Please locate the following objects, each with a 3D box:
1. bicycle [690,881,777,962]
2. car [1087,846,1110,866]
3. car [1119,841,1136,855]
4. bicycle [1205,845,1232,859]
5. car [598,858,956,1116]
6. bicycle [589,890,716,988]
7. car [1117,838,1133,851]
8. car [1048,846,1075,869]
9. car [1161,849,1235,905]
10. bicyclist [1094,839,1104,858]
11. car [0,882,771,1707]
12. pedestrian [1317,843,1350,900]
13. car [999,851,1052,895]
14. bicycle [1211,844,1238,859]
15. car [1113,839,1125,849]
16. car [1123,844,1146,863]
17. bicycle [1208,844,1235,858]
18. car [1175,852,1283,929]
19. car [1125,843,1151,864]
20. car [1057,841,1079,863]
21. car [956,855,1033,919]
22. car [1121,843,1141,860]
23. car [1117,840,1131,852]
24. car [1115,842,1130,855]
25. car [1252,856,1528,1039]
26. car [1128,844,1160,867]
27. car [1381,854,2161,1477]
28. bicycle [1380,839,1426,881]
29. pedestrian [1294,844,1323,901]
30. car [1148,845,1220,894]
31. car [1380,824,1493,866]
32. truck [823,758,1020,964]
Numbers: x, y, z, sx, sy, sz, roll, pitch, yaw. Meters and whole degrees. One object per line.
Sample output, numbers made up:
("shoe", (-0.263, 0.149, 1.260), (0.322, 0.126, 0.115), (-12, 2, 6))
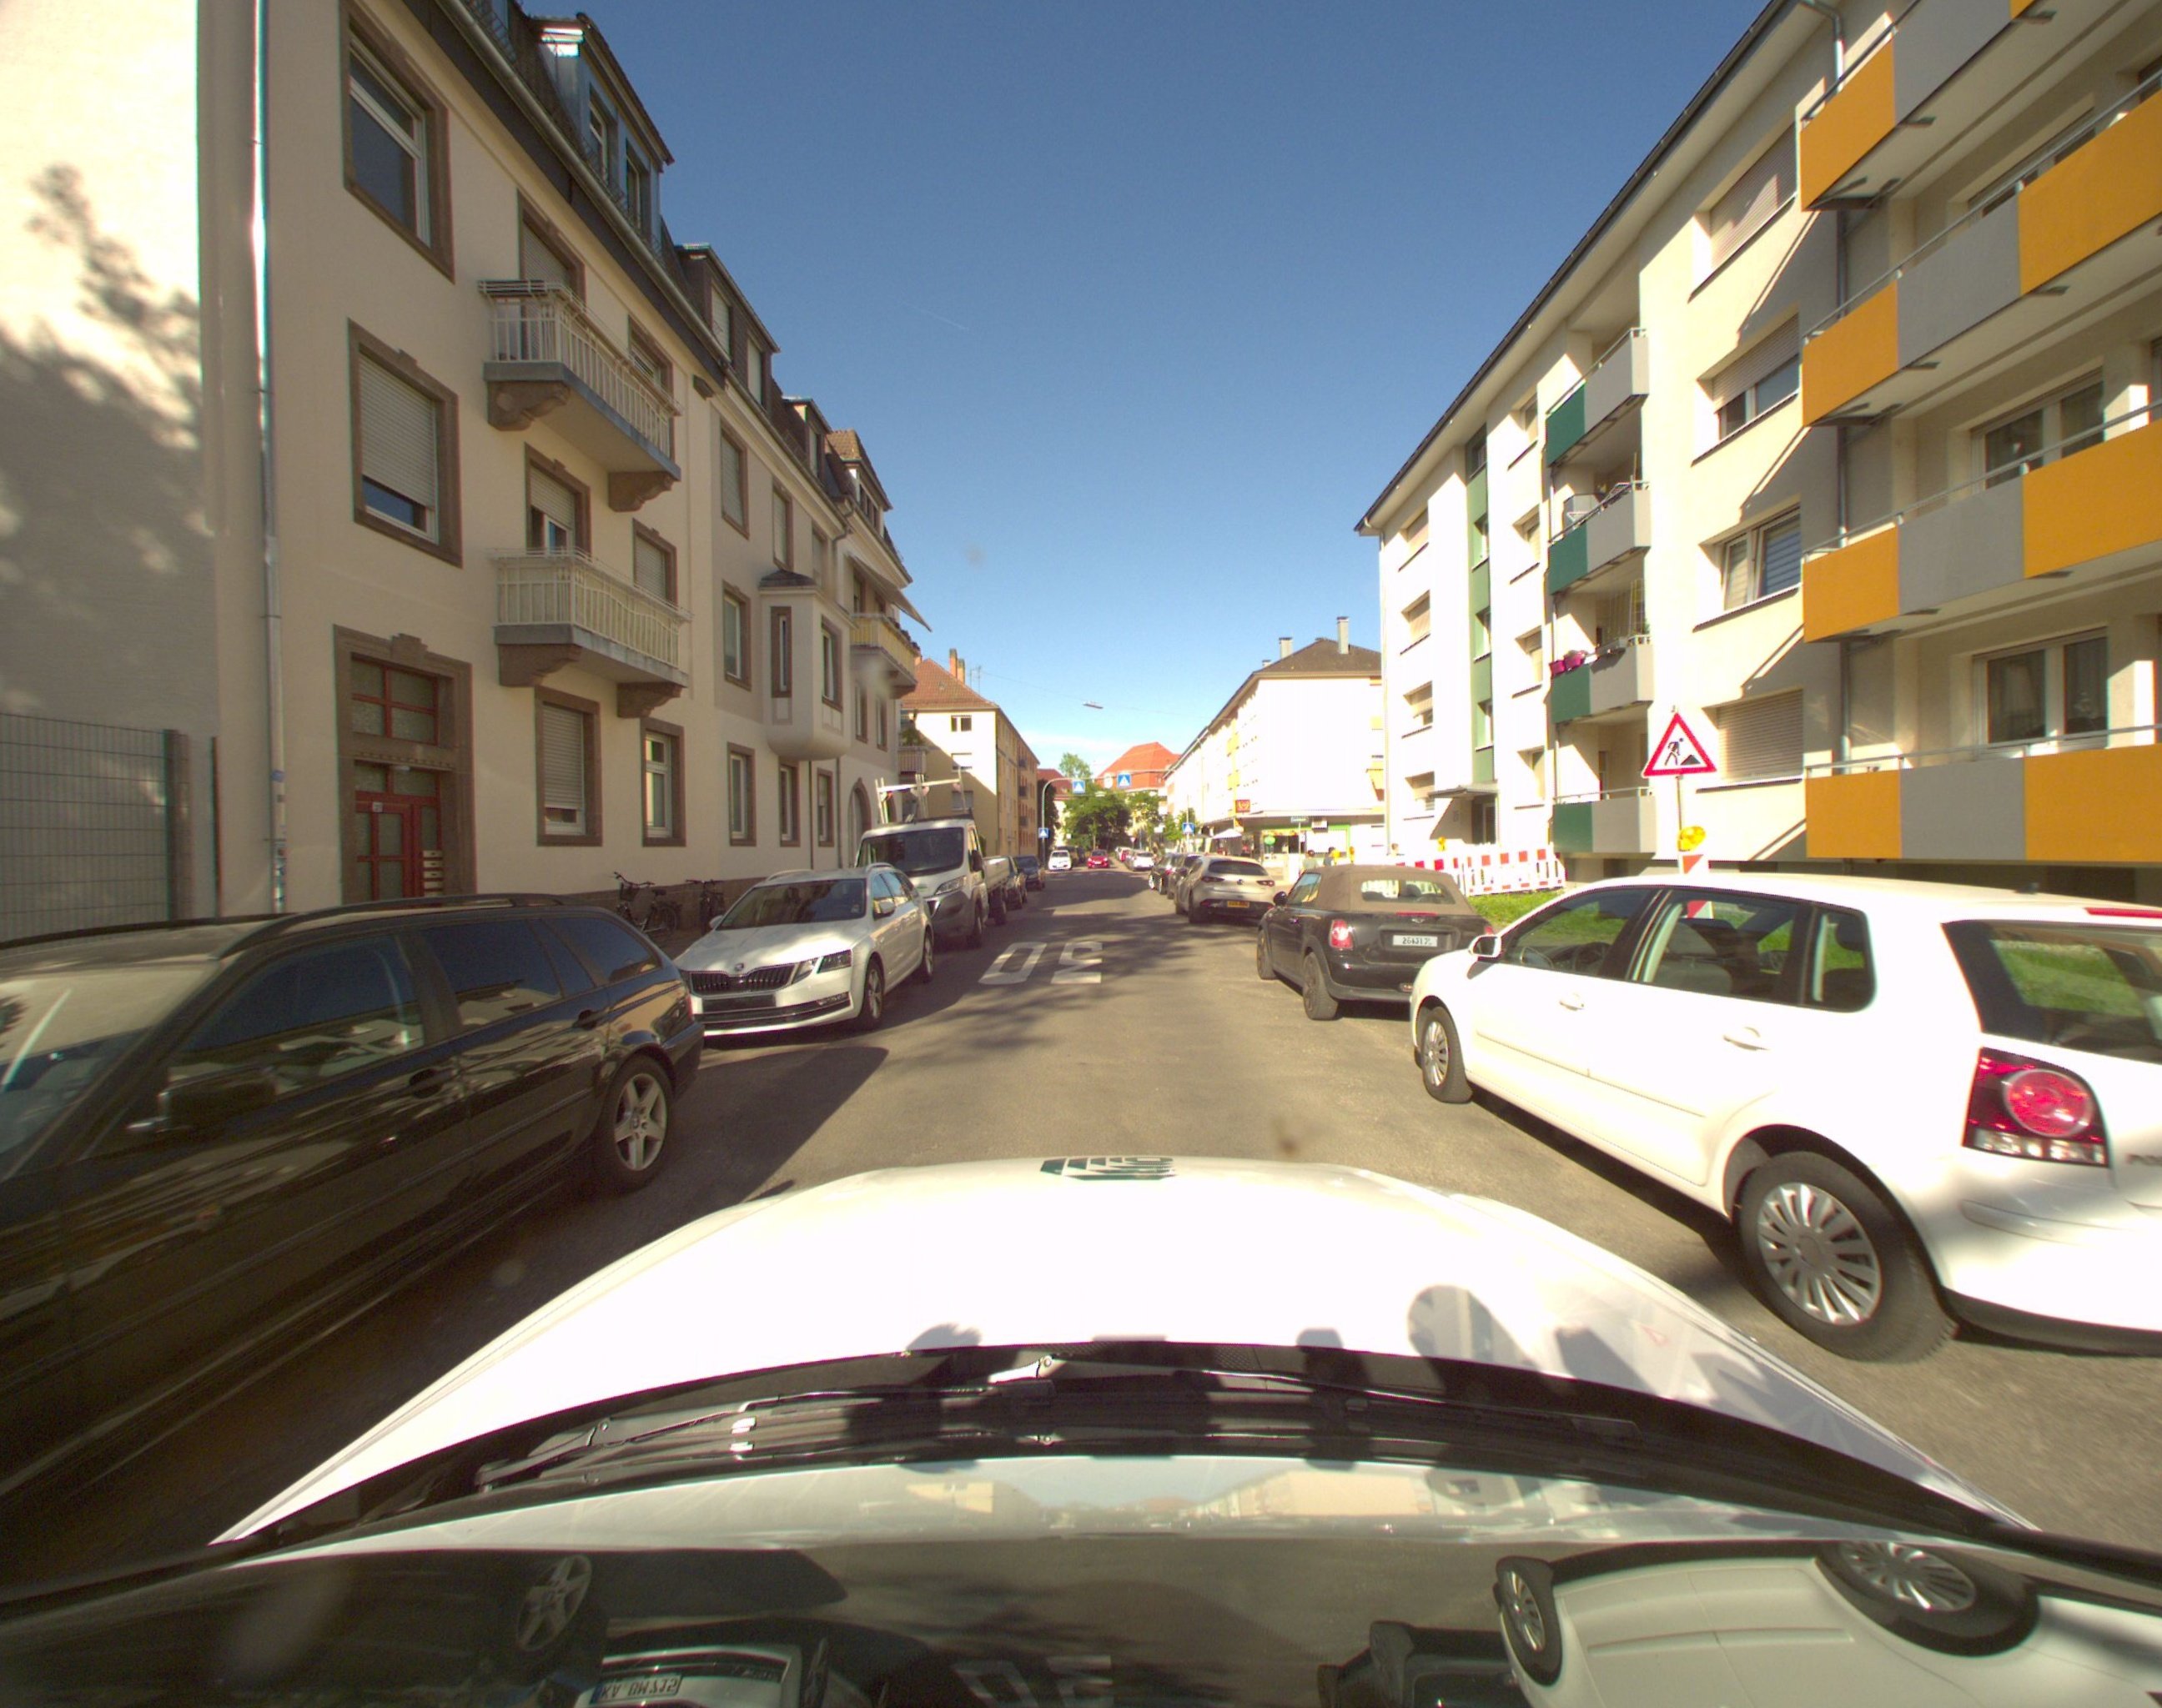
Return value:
("bicycle", (-6.642, 1.238, 15.715), (0.567, 1.279, 2.342), (-3, 2, 2))
("car", (1.356, 0.158, 63.877), (1.692, 1.440, 3.418), (-3, 1, -1))
("car", (5.035, -0.631, 88.405), (1.632, 1.440, 3.419), (-3, 1, 1))
("bicycle", (10.321, -0.168, 61.126), (1.806, 0.967, 0.671), (-3, 1, -9))
("car", (-2.615, 1.004, 8.399), (1.787, 1.540, 4.640), (-8, 2, -1))
("bicycle", (-6.640, 1.259, 12.788), (0.627, 1.203, 2.342), (-3, 2, 1))
("car", (5.136, -1.091, 94.912), (1.632, 1.440, 3.419), (-3, 1, 1))
("car", (-1.434, 0.212, 61.505), (1.785, 1.480, 4.101), (-4, 2, 2))
("car", (3.371, 0.605, 24.030), (1.639, 1.460, 3.940), (-2, 0, 1))
("bicyclist", (1.629, -0.506, 73.309), (0.782, 1.621, 0.958), (-4, 1, 6))
("car", (-2.837, 1.056, 2.470), (1.785, 1.562, 4.462), (-6, 0, 2))
("pedestrian", (6.499, 0.445, 20.986), (0.472, 1.433, 0.572), (-5, 1, -23))
("car", (-2.127, 0.678, 32.155), (1.699, 1.415, 4.372), (-7, 0, -1))
("bicycle", (10.529, -0.174, 59.865), (1.806, 0.967, 0.671), (-3, 1, -9))
("car", (5.657, -1.483, 122.995), (1.632, 1.440, 3.419), (-3, 1, 1))
("car", (4.395, -0.029, 67.740), (1.632, 1.440, 3.419), (-3, 1, 0))
("bicycle", (10.420, -0.210, 60.495), (1.806, 0.967, 0.671), (-3, 1, -9))
("car", (3.192, 0.717, 18.358), (1.785, 1.471, 4.341), (1, 1, 2))
("car", (4.323, -0.074, 61.876), (1.685, 1.440, 3.419), (-3, 1, 0))
("car", (-1.098, -0.213, 72.596), (1.691, 1.778, 4.101), (-3, 1, 2))
("car", (-2.331, 0.849, 22.920), (1.641, 1.415, 4.079), (-7, 0, -1))
("car", (4.706, -0.260, 76.811), (1.632, 1.440, 3.419), (-3, 1, 0))
("car", (5.437, -1.082, 103.787), (1.632, 1.440, 3.419), (-3, 1, 1))
("car", (5.071, -0.717, 99.198), (1.632, 1.440, 3.419), (-3, 1, 1))
("car", (2.991, 0.795, 8.696), (1.681, 1.467, 3.584), (1, 1, 2))
("car", (4.379, 0.075, 56.929), (1.840, 1.440, 3.418), (-3, 1, -1))
("car", (3.057, 0.798, 3.923), (1.681, 1.462, 3.817), (3, 1, -2))
("bicycle", (9.515, 0.154, 24.140), (0.558, 1.119, 1.899), (-7, 1, 2))
("pedestrian", (5.901, 0.488, 21.119), (0.501, 1.433, 0.454), (-3, 2, 43))
("car", (3.548, 0.486, 28.853), (1.848, 1.523, 4.775), (-2, 0, -1))
("car", (15.652, -0.391, 36.020), (4.220, 1.612, 1.828), (-2, 1, 7))
("truck", (-2.669, 0.075, 15.876), (2.252, 2.986, 7.275), (-3, 0, 0))
